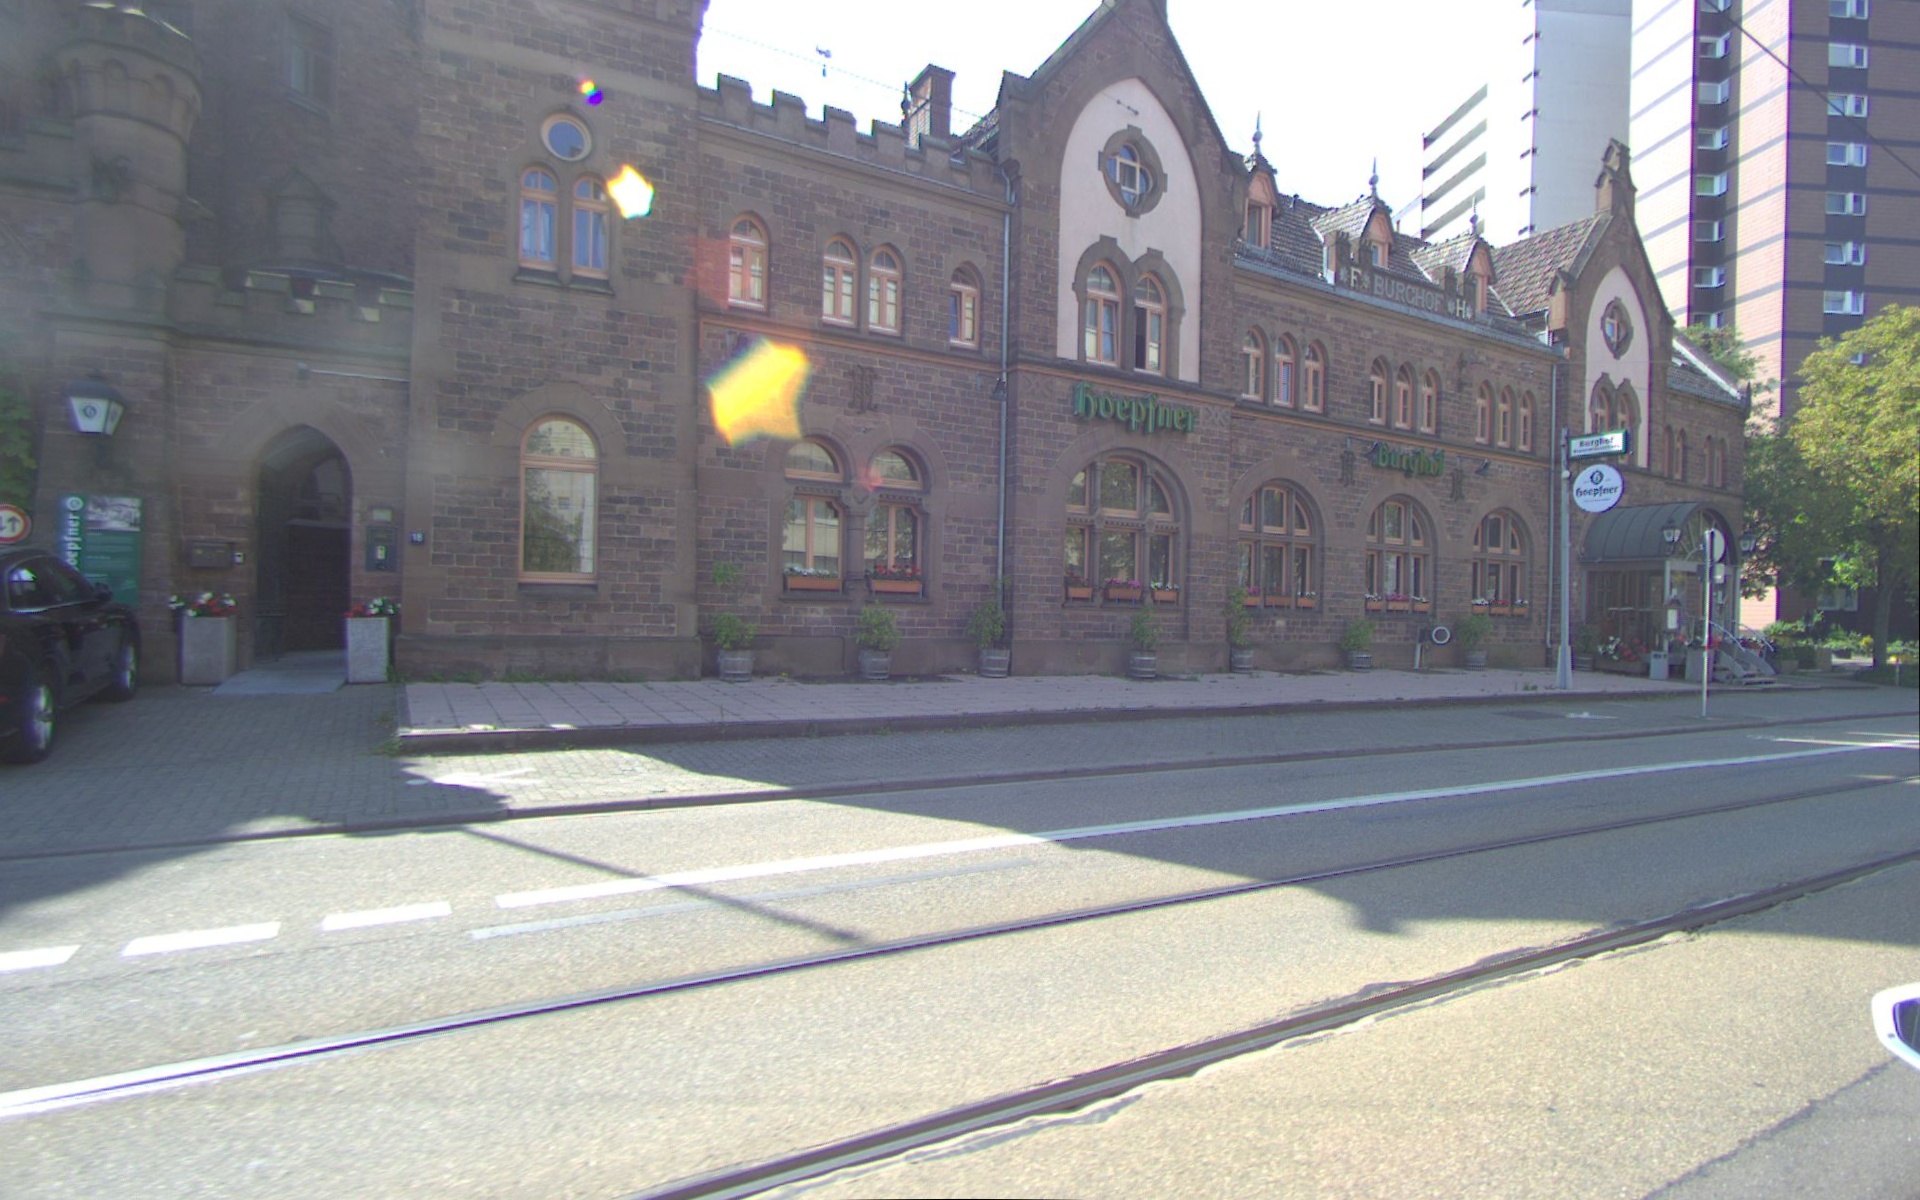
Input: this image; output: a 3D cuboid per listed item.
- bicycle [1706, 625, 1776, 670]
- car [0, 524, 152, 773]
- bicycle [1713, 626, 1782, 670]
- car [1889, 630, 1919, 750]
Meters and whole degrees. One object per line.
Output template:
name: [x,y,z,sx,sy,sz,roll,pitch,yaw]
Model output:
bicycle: [22.178,1.342,28.553,0.395,1.108,1.442,1,3,-34]
car: [-8.655,0.236,8.621,1.976,1.767,4.116,1,3,-29]
bicycle: [22.559,1.353,28.785,0.395,1.108,1.442,1,3,-34]
car: [14.536,1.206,13.382,4.810,1.511,1.838,2,0,-30]
